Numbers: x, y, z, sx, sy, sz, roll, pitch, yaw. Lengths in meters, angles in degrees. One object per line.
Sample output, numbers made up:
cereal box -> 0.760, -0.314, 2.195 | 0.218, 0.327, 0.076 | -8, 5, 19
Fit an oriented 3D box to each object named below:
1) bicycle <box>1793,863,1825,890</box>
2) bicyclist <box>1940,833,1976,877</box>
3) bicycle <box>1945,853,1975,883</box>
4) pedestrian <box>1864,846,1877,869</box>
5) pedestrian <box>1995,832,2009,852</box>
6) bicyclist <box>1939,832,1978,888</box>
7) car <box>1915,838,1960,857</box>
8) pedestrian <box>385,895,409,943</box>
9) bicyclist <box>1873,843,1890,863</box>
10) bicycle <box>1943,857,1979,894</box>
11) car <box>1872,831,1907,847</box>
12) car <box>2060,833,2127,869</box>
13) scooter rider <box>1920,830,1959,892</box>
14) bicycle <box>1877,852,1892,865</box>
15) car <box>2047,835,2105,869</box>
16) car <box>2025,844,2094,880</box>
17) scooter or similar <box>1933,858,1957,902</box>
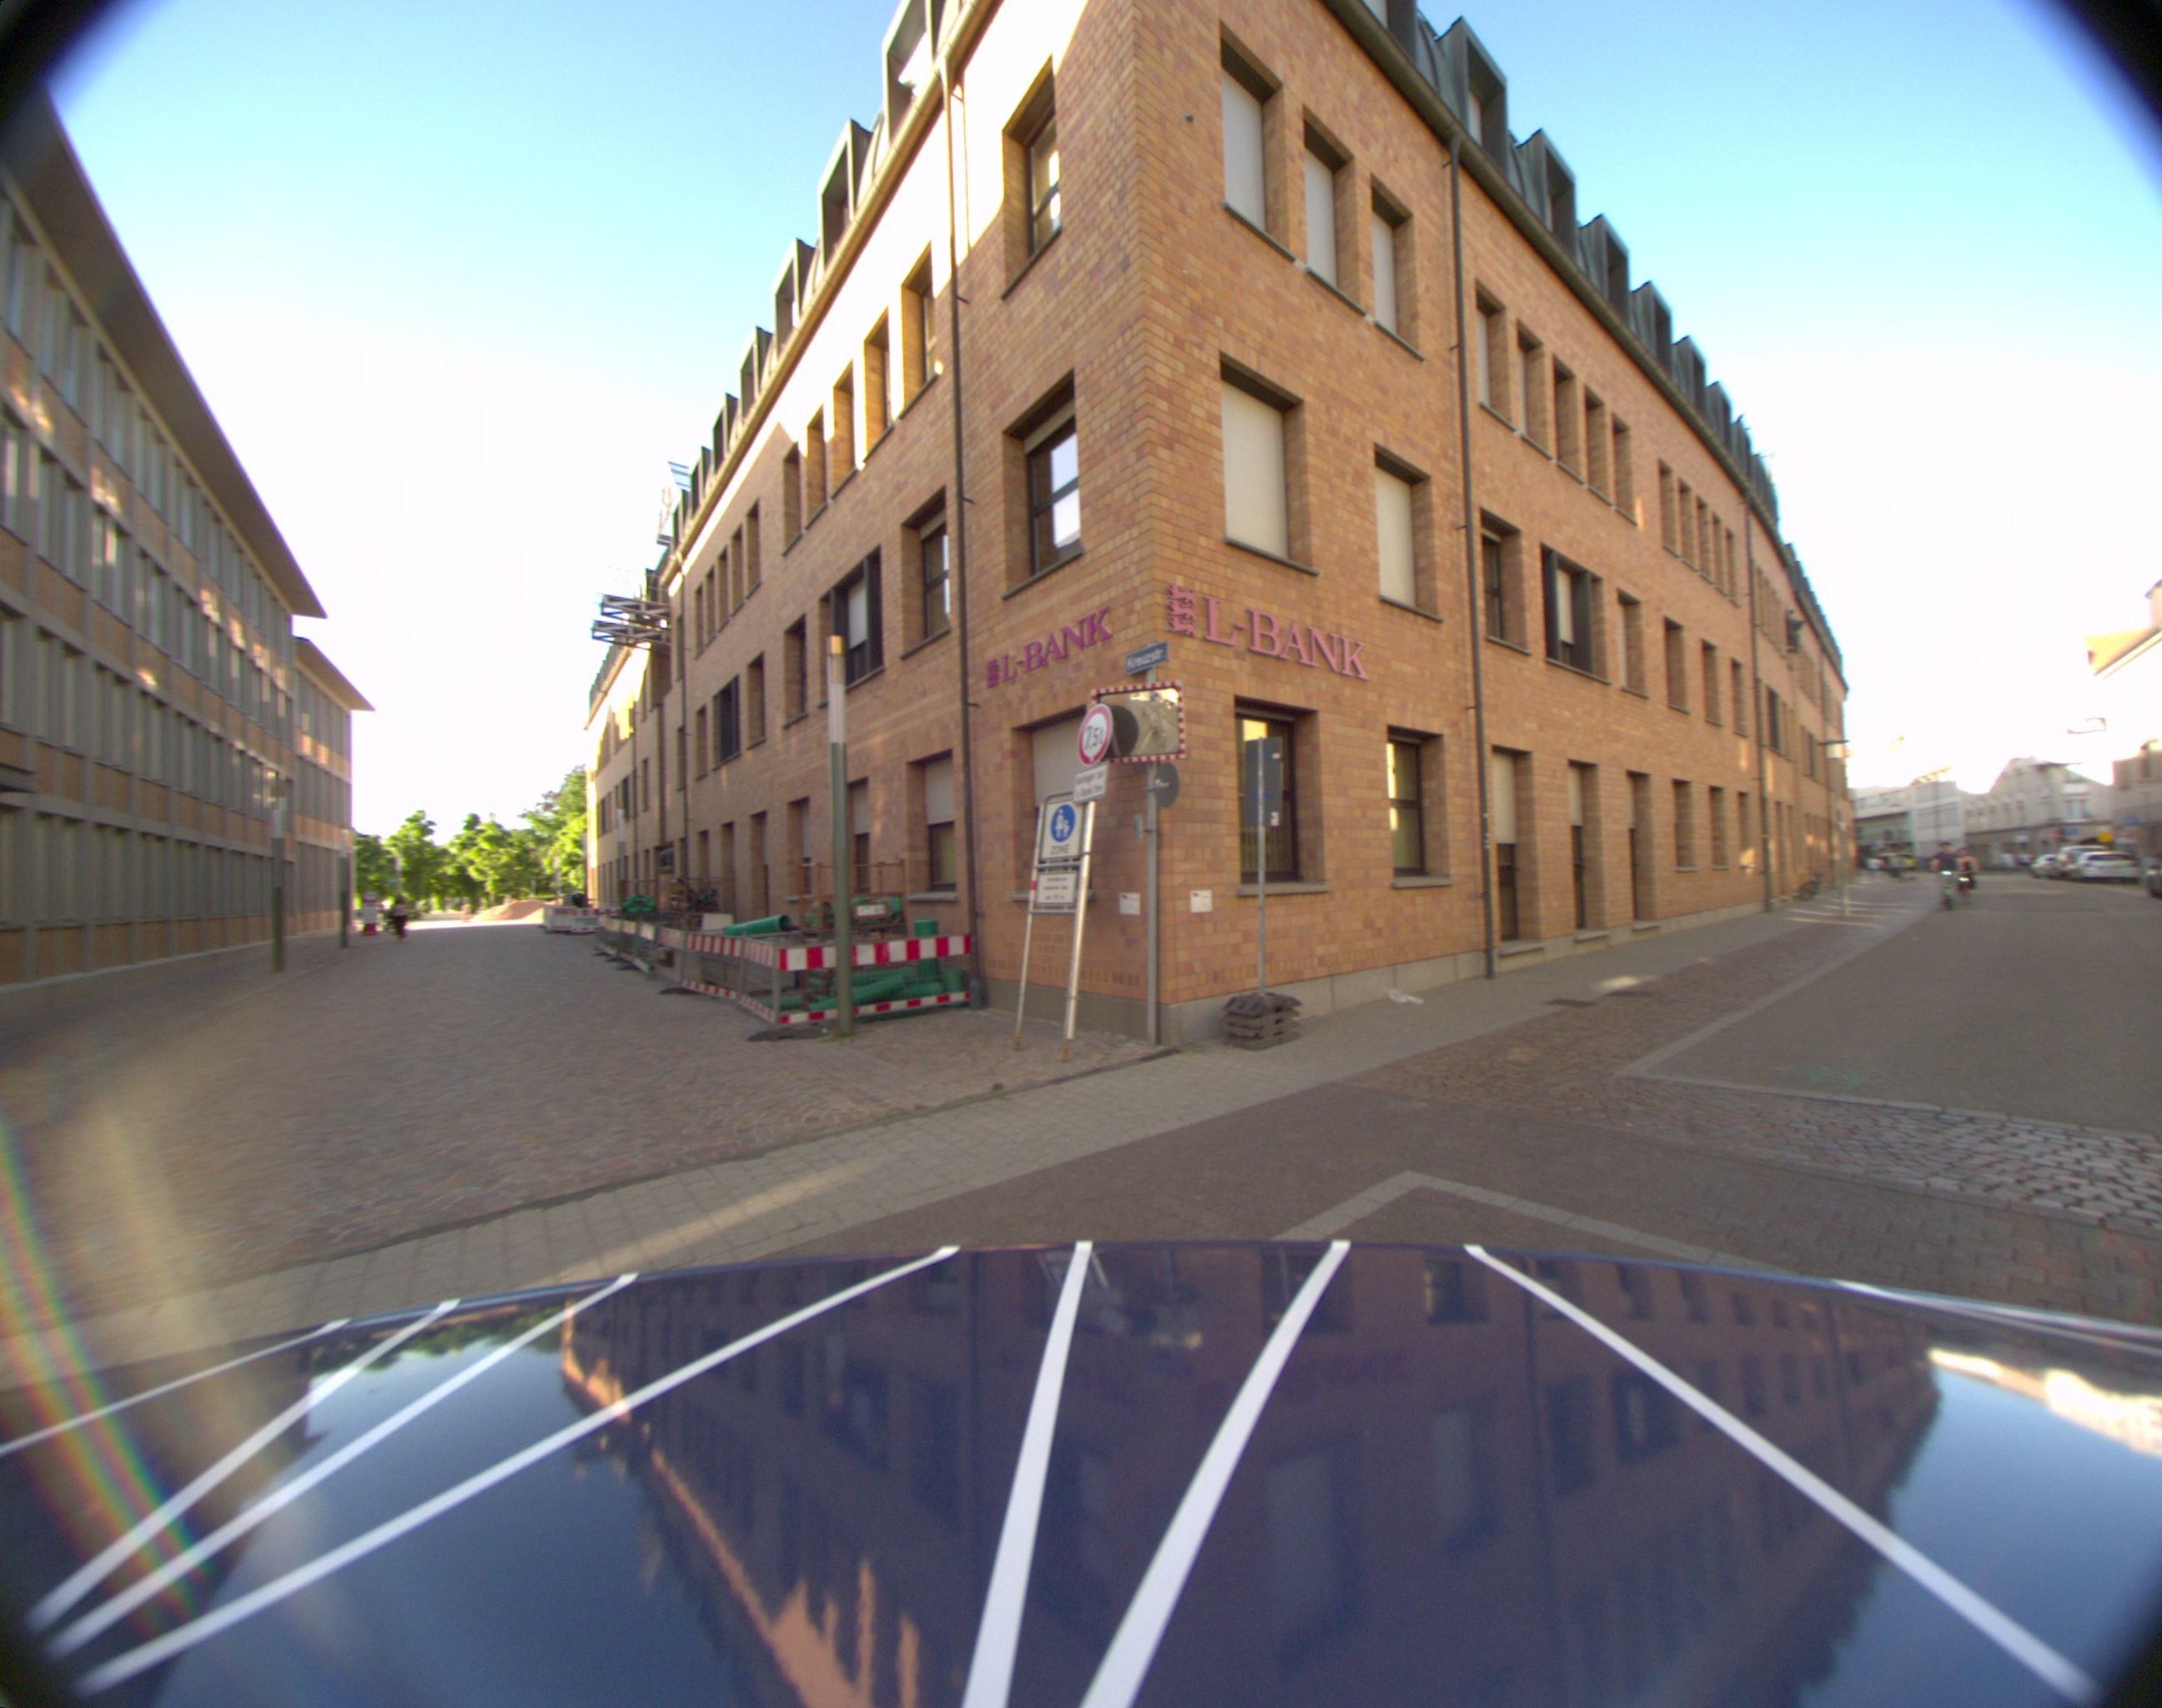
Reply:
bicycle -> 26.686, 0.814, 27.834 | 2.562, 0.876, 0.641 | -2, 0, -42
bicyclist -> 32.554, 0.039, 28.216 | 1.111, 1.548, 0.648 | -2, -4, -36
bicycle -> 32.647, 0.502, 28.215 | 1.839, 1.045, 0.572 | -1, -1, -36
pedestrian -> 51.447, 0.232, 49.508 | 0.406, 1.536, 0.542 | -2, 0, -40
pedestrian -> 69.600, -0.877, 57.436 | 0.570, 1.470, 0.475 | -3, -1, 44
bicyclist -> 27.050, 0.171, 23.414 | 0.825, 1.656, 0.619 | -2, -3, -38
car -> 77.541, -0.582, 68.858 | 1.930, 1.641, 3.844 | -3, -1, 37
pedestrian -> -26.415, 2.500, 29.346 | 0.640, 1.774, 0.651 | -2, -3, -39
bicyclist -> 69.514, -0.066, 66.000 | 0.771, 1.645, 0.959 | -6, -4, 40
bicycle -> 27.181, 0.650, 23.469 | 1.804, 1.045, 0.590 | -2, -3, -38
car -> 87.442, -1.593, 82.237 | 1.930, 1.641, 3.844 | -2, 0, 38
car -> 49.250, -0.171, 37.017 | 3.514, 1.669, 1.689 | -1, 1, -41
scooter rider -> 24.375, 0.204, 21.572 | 0.703, 1.715, 0.647 | 0, -2, -40
bicycle -> 69.647, 0.412, 65.881 | 0.703, 1.097, 1.831 | -3, -1, 41
car -> 53.696, -0.143, 41.068 | 3.663, 1.765, 1.689 | -1, 1, -41
car -> 58.371, 0.458, 45.392 | 1.994, 2.002, 4.008 | 0, 1, 44
scooter or similar -> 24.354, 0.715, 21.416 | 1.282, 1.178, 0.336 | -1, -4, -40
